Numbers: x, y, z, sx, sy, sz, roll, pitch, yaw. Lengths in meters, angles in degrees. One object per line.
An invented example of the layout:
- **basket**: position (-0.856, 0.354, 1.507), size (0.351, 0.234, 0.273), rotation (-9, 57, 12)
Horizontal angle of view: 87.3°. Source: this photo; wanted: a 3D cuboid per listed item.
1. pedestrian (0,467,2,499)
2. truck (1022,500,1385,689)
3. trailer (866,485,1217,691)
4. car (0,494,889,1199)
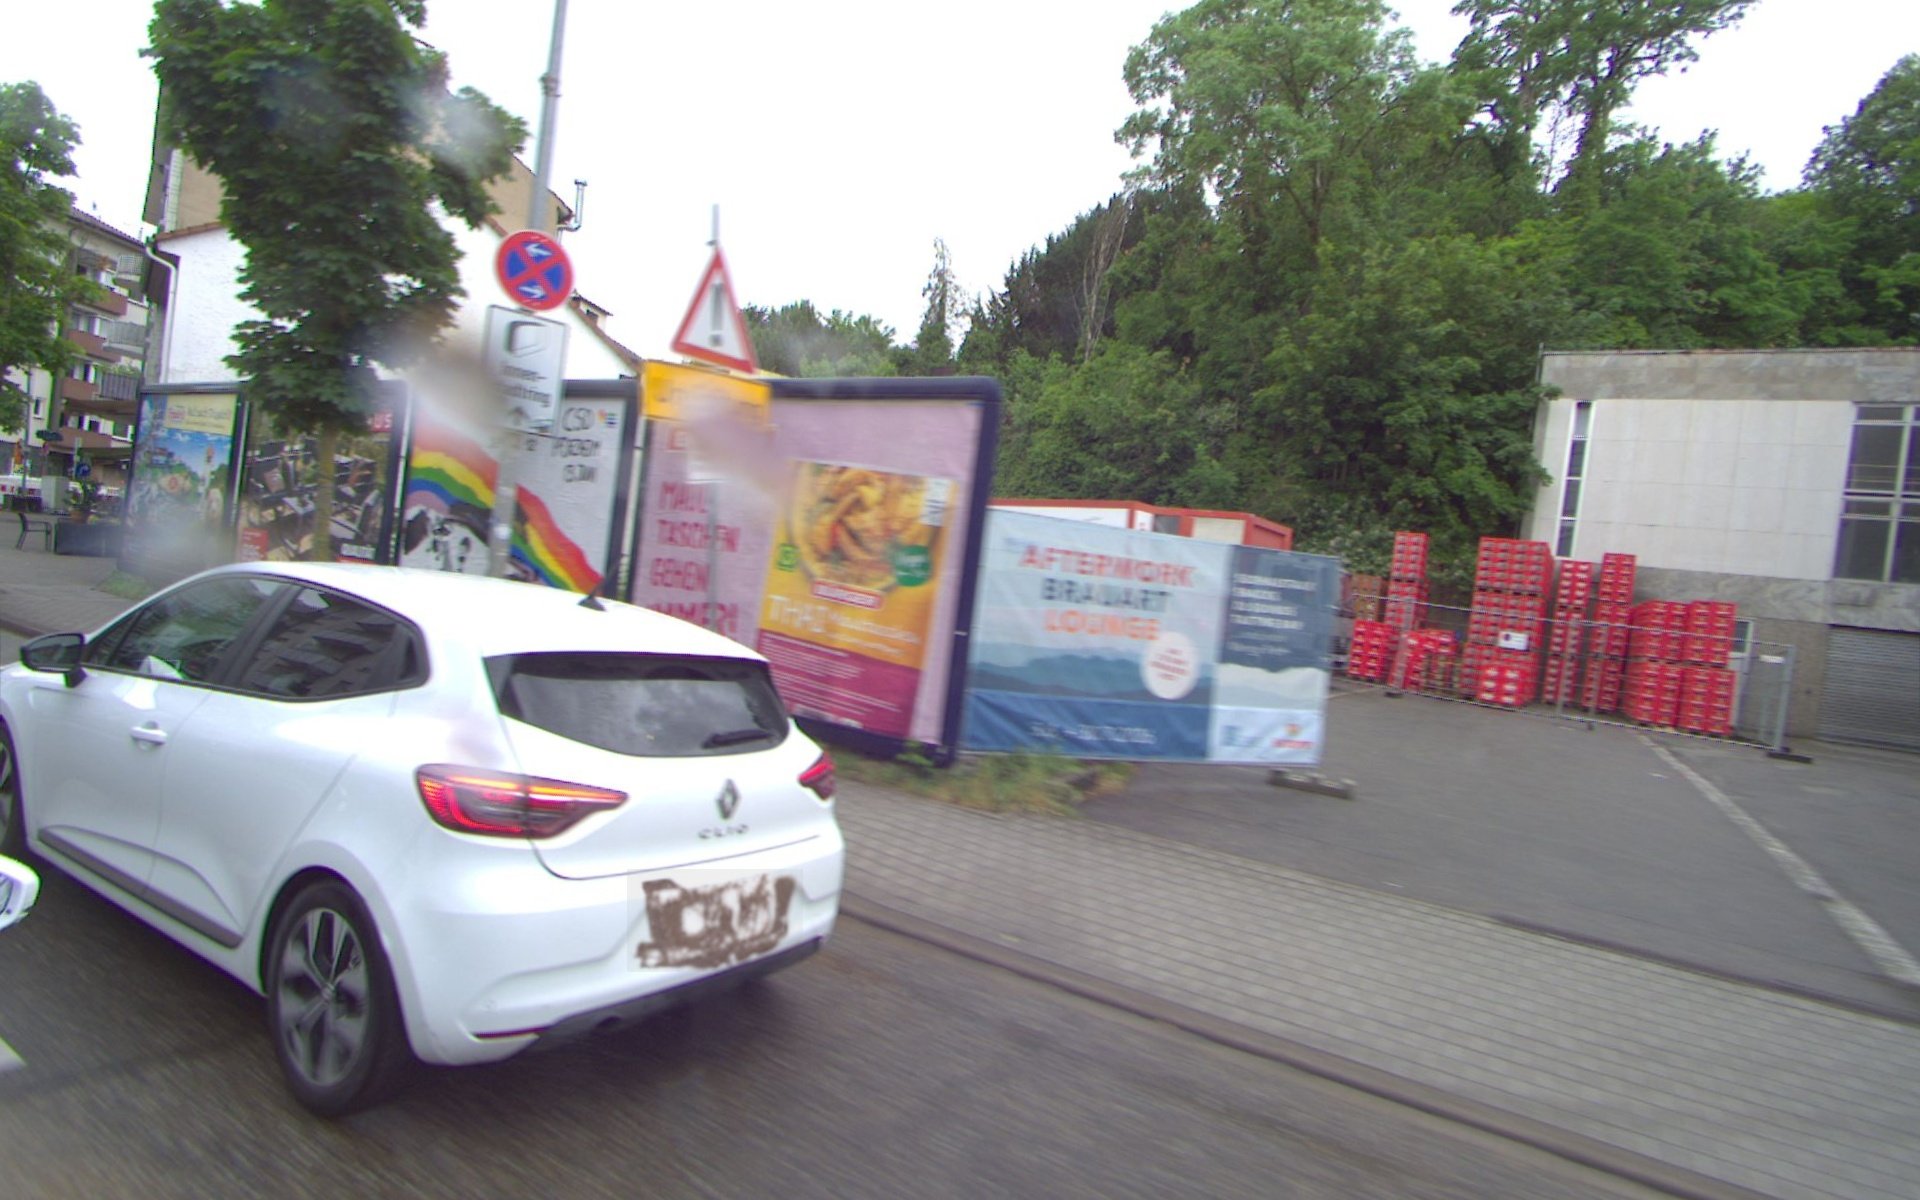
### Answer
- **pedestrian**: position (-21.817, -2.122, 22.270), size (0.860, 1.778, 0.789), rotation (8, 2, 45)
- **truck**: position (5.050, -0.233, 21.615), size (6.821, 3.258, 2.630), rotation (7, 2, 36)
- **trailer**: position (1.252, -0.303, 16.927), size (5.304, 2.753, 2.126), rotation (8, 3, 34)
- **car**: position (-2.368, 0.496, 3.965), size (3.802, 1.414, 1.666), rotation (8, 2, 32)
